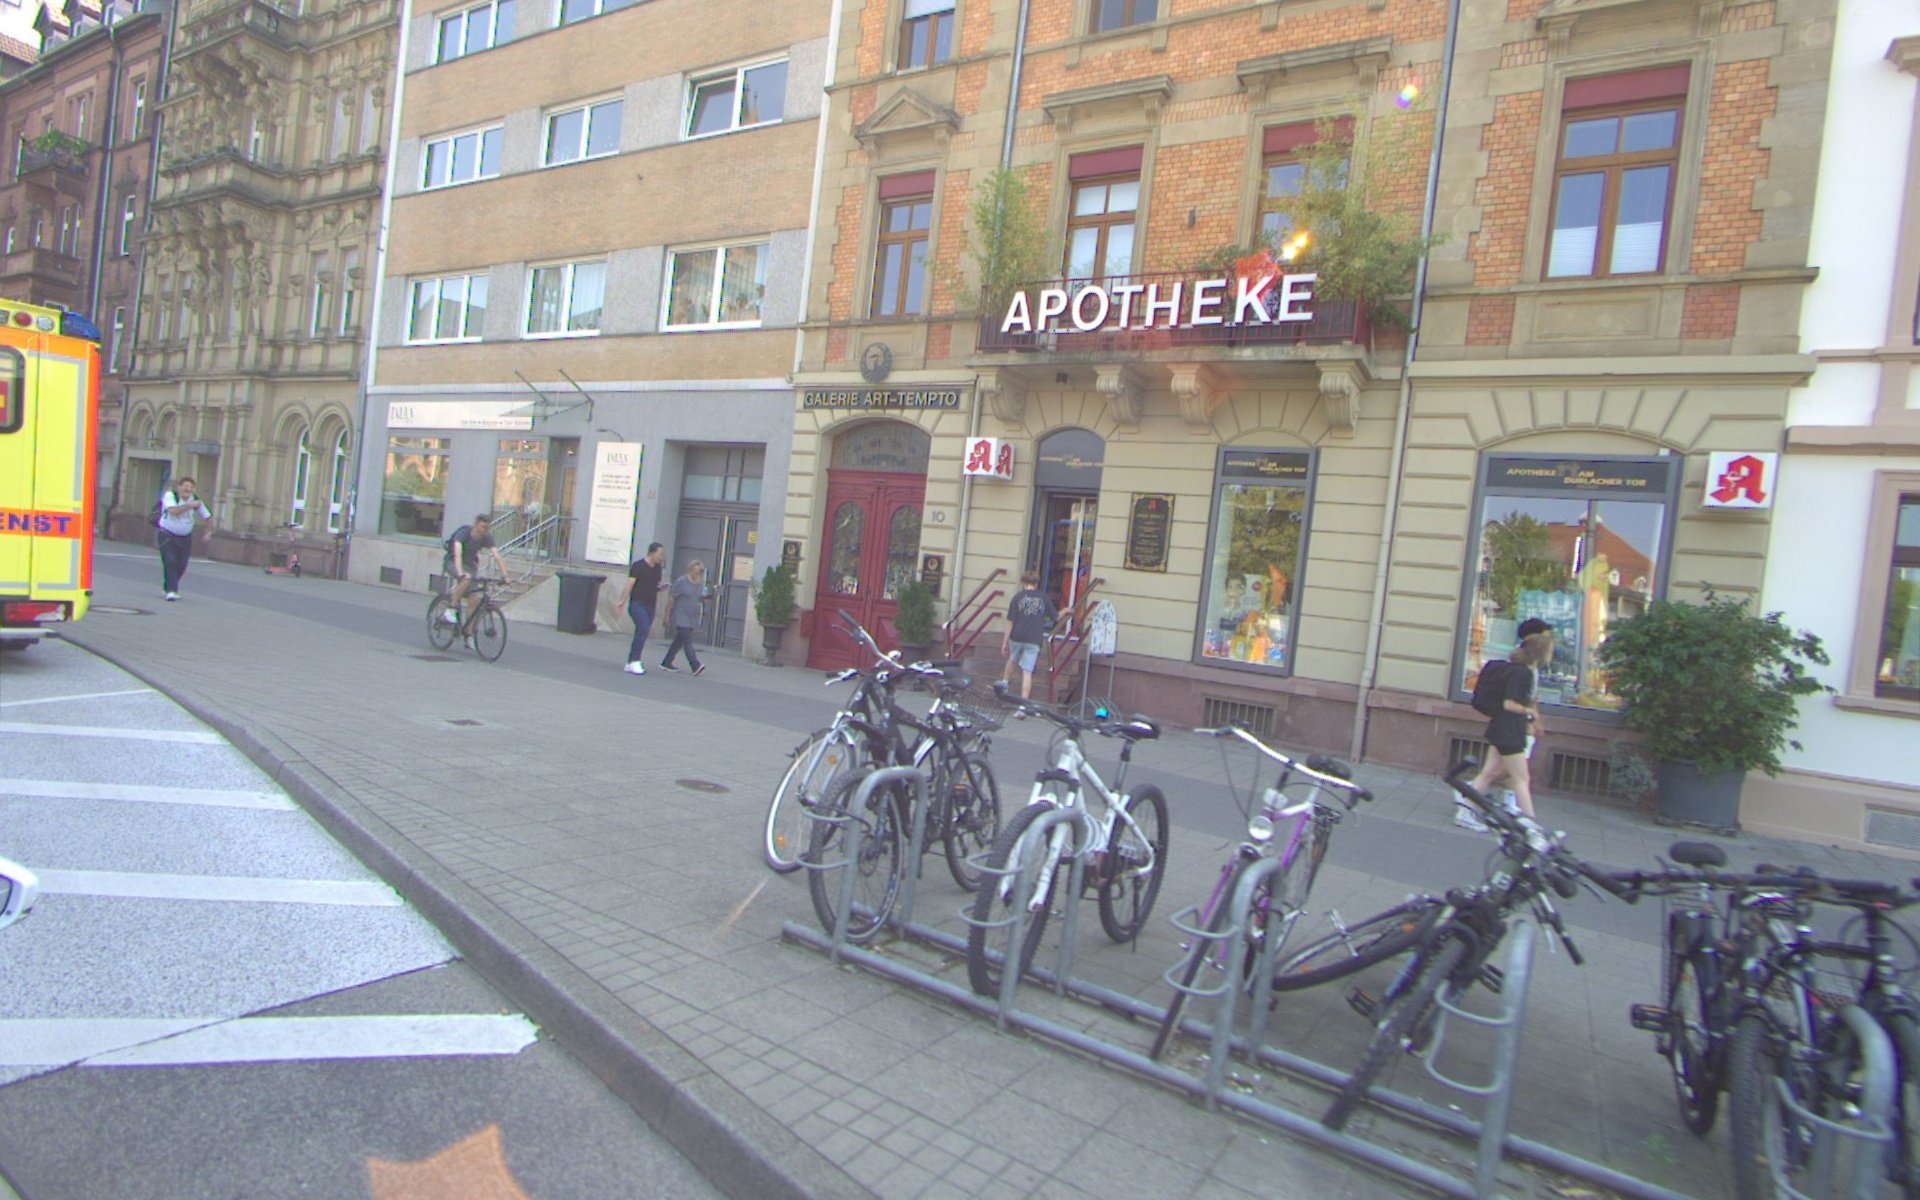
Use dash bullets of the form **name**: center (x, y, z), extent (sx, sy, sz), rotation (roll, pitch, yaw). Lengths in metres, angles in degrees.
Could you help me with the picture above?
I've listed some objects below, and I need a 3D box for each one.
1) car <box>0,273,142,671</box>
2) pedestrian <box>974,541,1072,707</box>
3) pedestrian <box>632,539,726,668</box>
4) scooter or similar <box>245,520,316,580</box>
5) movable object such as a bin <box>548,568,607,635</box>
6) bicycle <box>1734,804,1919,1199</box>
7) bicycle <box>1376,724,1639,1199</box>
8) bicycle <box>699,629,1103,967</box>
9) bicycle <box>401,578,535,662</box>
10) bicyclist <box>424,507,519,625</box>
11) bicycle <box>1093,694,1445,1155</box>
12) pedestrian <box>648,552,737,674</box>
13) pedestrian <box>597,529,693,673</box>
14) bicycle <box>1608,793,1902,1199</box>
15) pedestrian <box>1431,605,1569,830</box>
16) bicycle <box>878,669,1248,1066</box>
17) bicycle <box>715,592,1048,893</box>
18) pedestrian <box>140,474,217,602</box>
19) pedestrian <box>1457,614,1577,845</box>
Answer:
- **car**: center (-9.585, -1.227, 8.663), extent (5.508, 2.926, 2.299), rotation (7, 2, 34)
- **pedestrian**: center (0.766, 0.279, 12.205), extent (0.828, 1.871, 0.685), rotation (7, 3, 23)
- **pedestrian**: center (-4.084, 0.048, 14.652), extent (0.814, 1.760, 0.877), rotation (7, 3, 31)
- **scooter or similar**: center (-15.534, -1.133, 23.001), extent (1.279, 1.211, 0.514), rotation (7, 1, 12)
- **movable object such as a bin**: center (-6.603, 0.020, 17.401), extent (0.752, 1.061, 0.646), rotation (6, 1, -12)
- **bicycle**: center (2.411, 1.146, 2.598), extent (0.359, 1.029, 1.539), rotation (9, 0, 31)
- **bicycle**: center (1.802, 1.002, 3.272), extent (0.464, 1.085, 1.539), rotation (9, 0, 31)
- **bicycle**: center (-0.149, 0.755, 4.315), extent (0.634, 1.085, 1.776), rotation (7, 0, 37)
- **bicycle**: center (-6.117, 0.234, 12.487), extent (1.746, 0.866, 0.589), rotation (5, 1, 30)
- **bicyclist**: center (-6.025, -0.409, 12.415), extent (0.572, 1.338, 0.753), rotation (7, 1, 31)
- **bicycle**: center (1.152, 0.915, 3.445), extent (0.633, 1.085, 1.660), rotation (8, 0, 31)
- **pedestrian**: center (-3.540, 0.177, 13.320), extent (0.776, 1.512, 0.644), rotation (7, 1, 31)
- **pedestrian**: center (-3.961, 0.014, 12.657), extent (0.776, 1.706, 0.644), rotation (7, 1, 31)
- **bicycle**: center (2.165, 1.133, 2.881), extent (0.359, 0.964, 1.539), rotation (9, 0, 31)
- **pedestrian**: center (4.776, 0.996, 8.900), extent (0.865, 1.819, 0.599), rotation (7, 3, 32)
- **bicycle**: center (0.489, 0.862, 3.822), extent (0.633, 1.085, 1.660), rotation (7, 0, 31)
- **bicycle**: center (-0.322, 0.678, 5.142), extent (0.634, 1.230, 1.674), rotation (7, 0, 37)
- **pedestrian**: center (-10.960, -0.867, 14.127), extent (0.692, 1.689, 0.597), rotation (5, 2, -33)
- **pedestrian**: center (4.628, 1.036, 8.357), extent (0.668, 1.774, 0.577), rotation (7, 3, 32)
